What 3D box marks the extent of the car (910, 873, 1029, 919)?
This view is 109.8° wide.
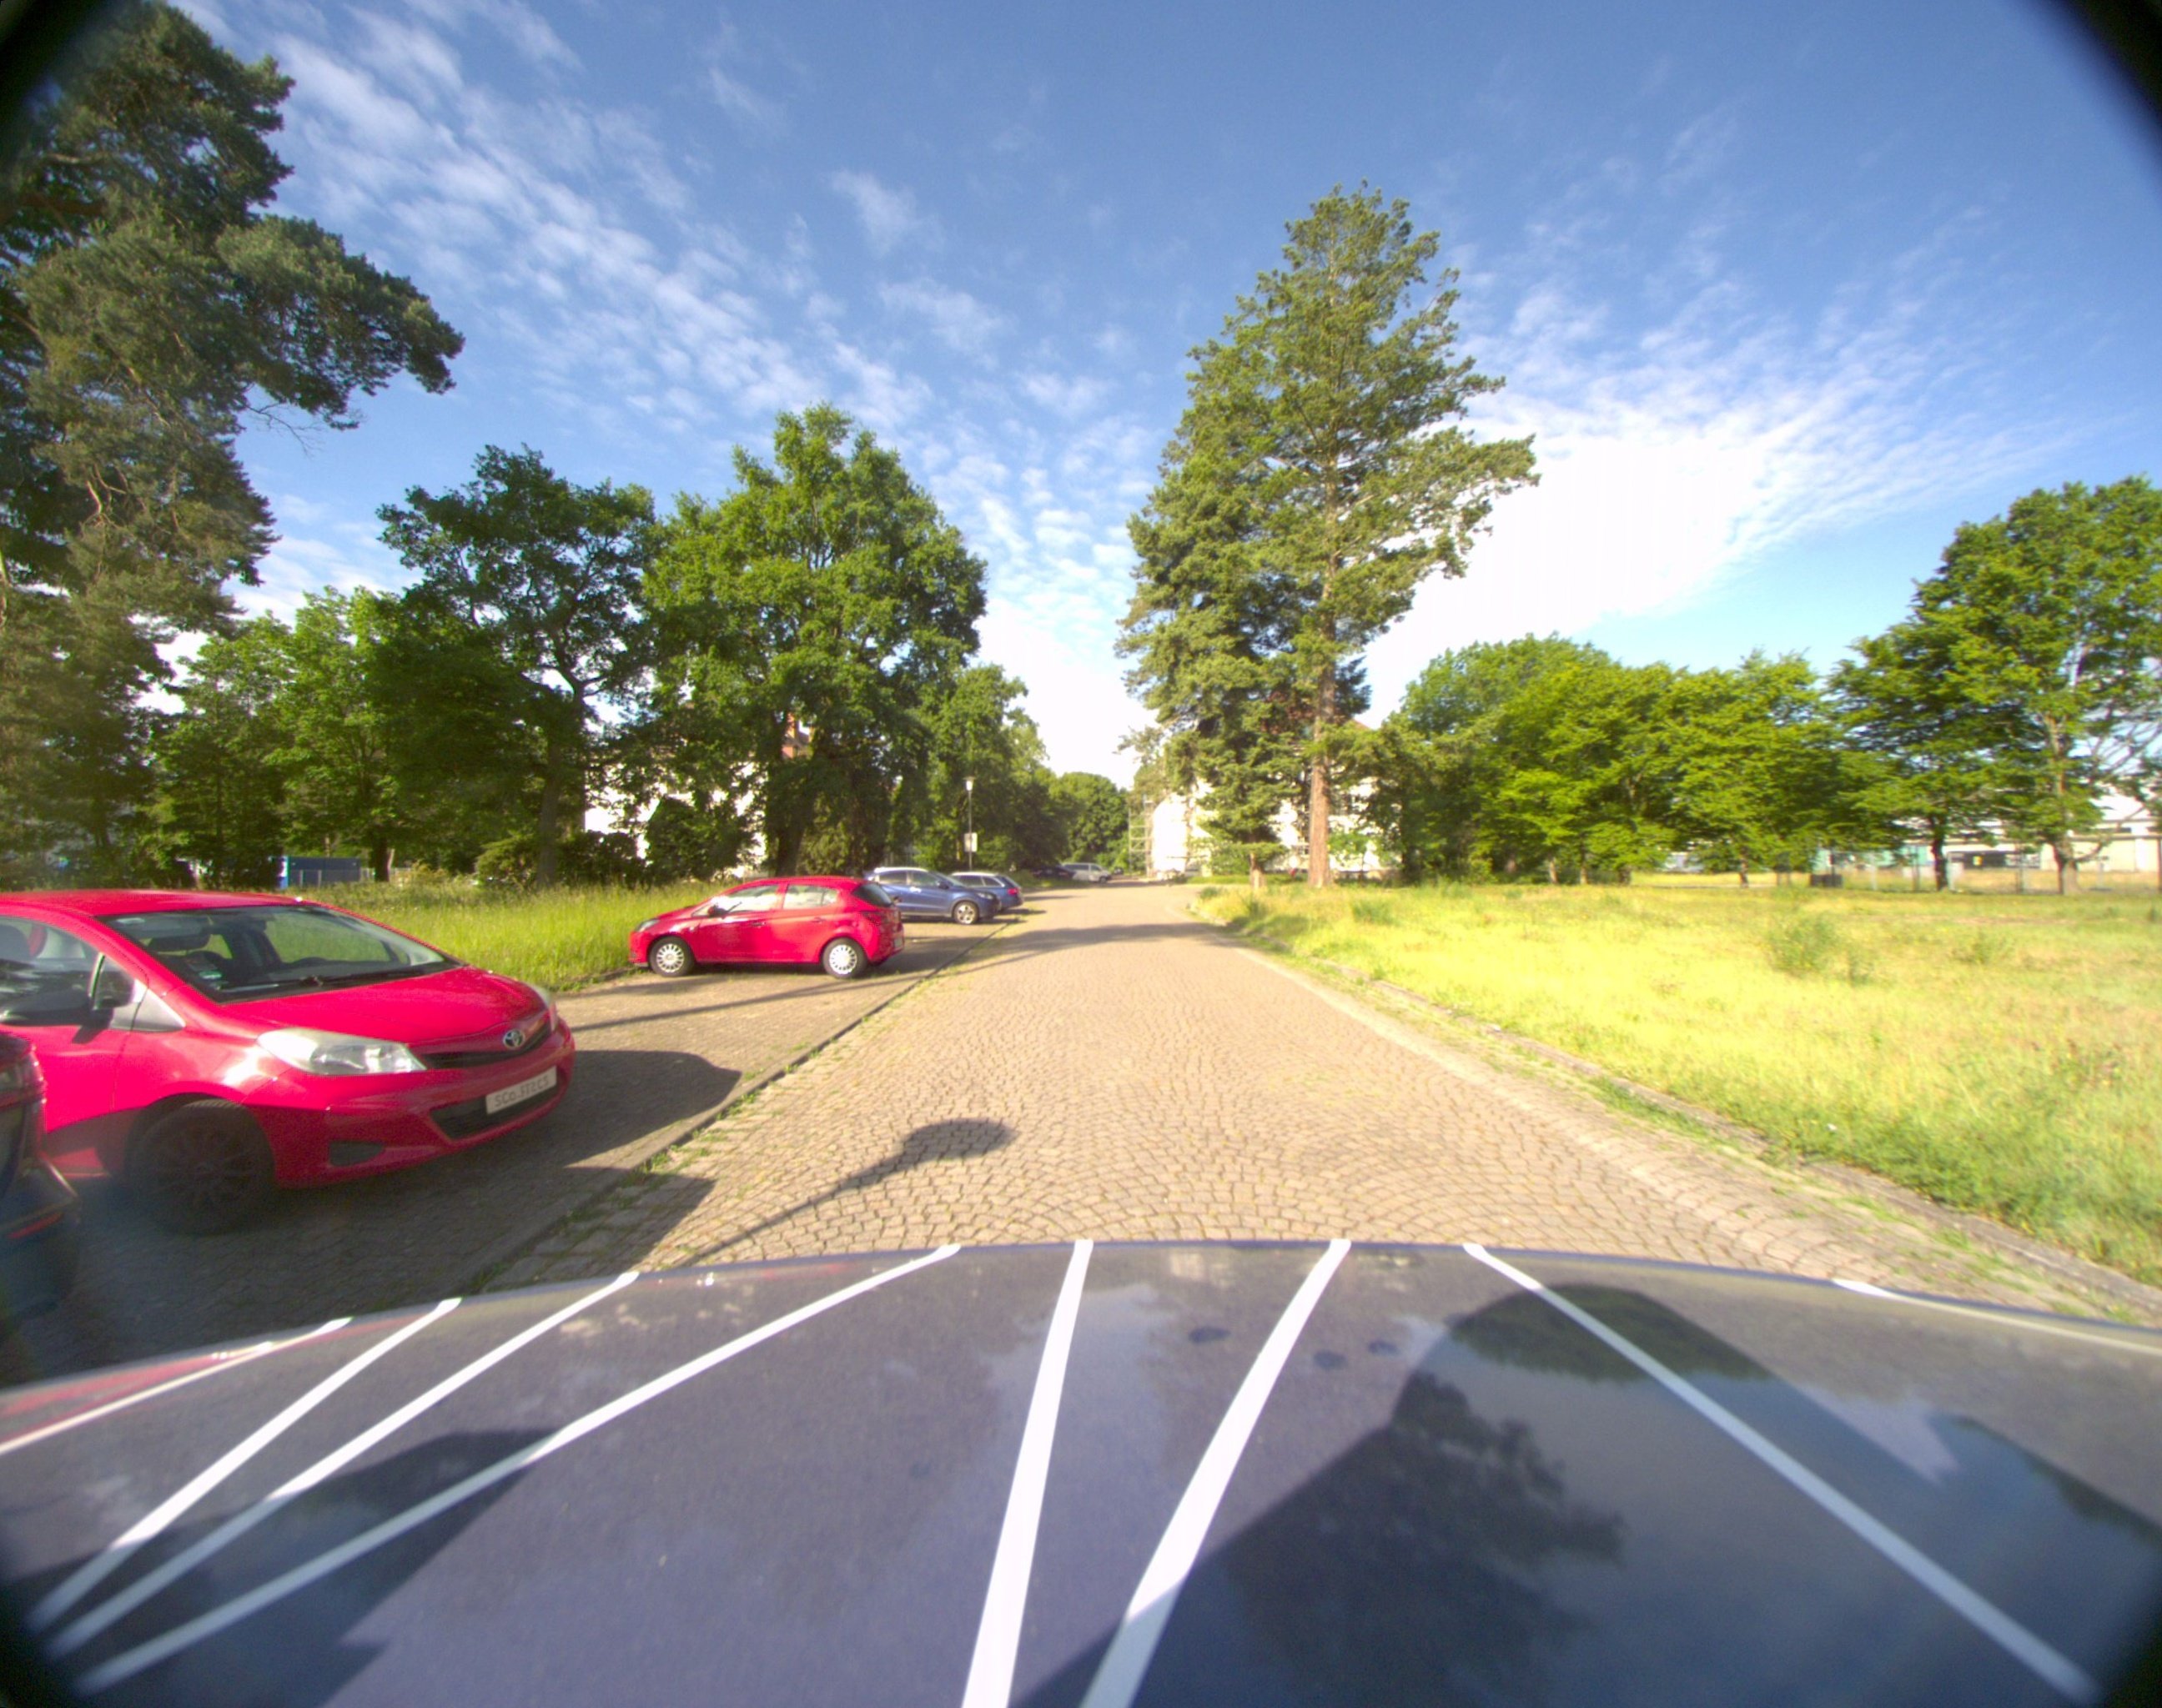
[{"bbox_3d":[-3.841,1.445,26.603,3.809,1.457,1.747,-1,0,2],"label":"car"}]

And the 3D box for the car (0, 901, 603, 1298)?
[{"bbox_3d":[-4.990,1.068,4.038,3.834,1.529,1.703,0,0,2],"label":"car"}]

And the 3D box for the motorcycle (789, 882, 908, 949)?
[{"bbox_3d":[-4.903,1.295,16.150,2.235,1.345,0.879,-1,0,3],"label":"motorcycle"}]

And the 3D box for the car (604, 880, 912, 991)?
[{"bbox_3d":[-4.769,1.190,11.570,3.997,1.486,1.540,-1,0,1],"label":"car"}]

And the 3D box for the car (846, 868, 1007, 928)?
[{"bbox_3d":[-4.362,1.232,21.855,4.273,1.589,1.651,1,0,1],"label":"car"}]

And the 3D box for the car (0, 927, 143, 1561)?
[{"bbox_3d":[-4.831,1.011,1.338,4.117,1.601,1.786,0,0,0],"label":"car"}]

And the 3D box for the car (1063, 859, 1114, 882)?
[{"bbox_3d":[0.722,1.616,75.304,4.993,2.123,2.165,-1,0,-1],"label":"car"}]
